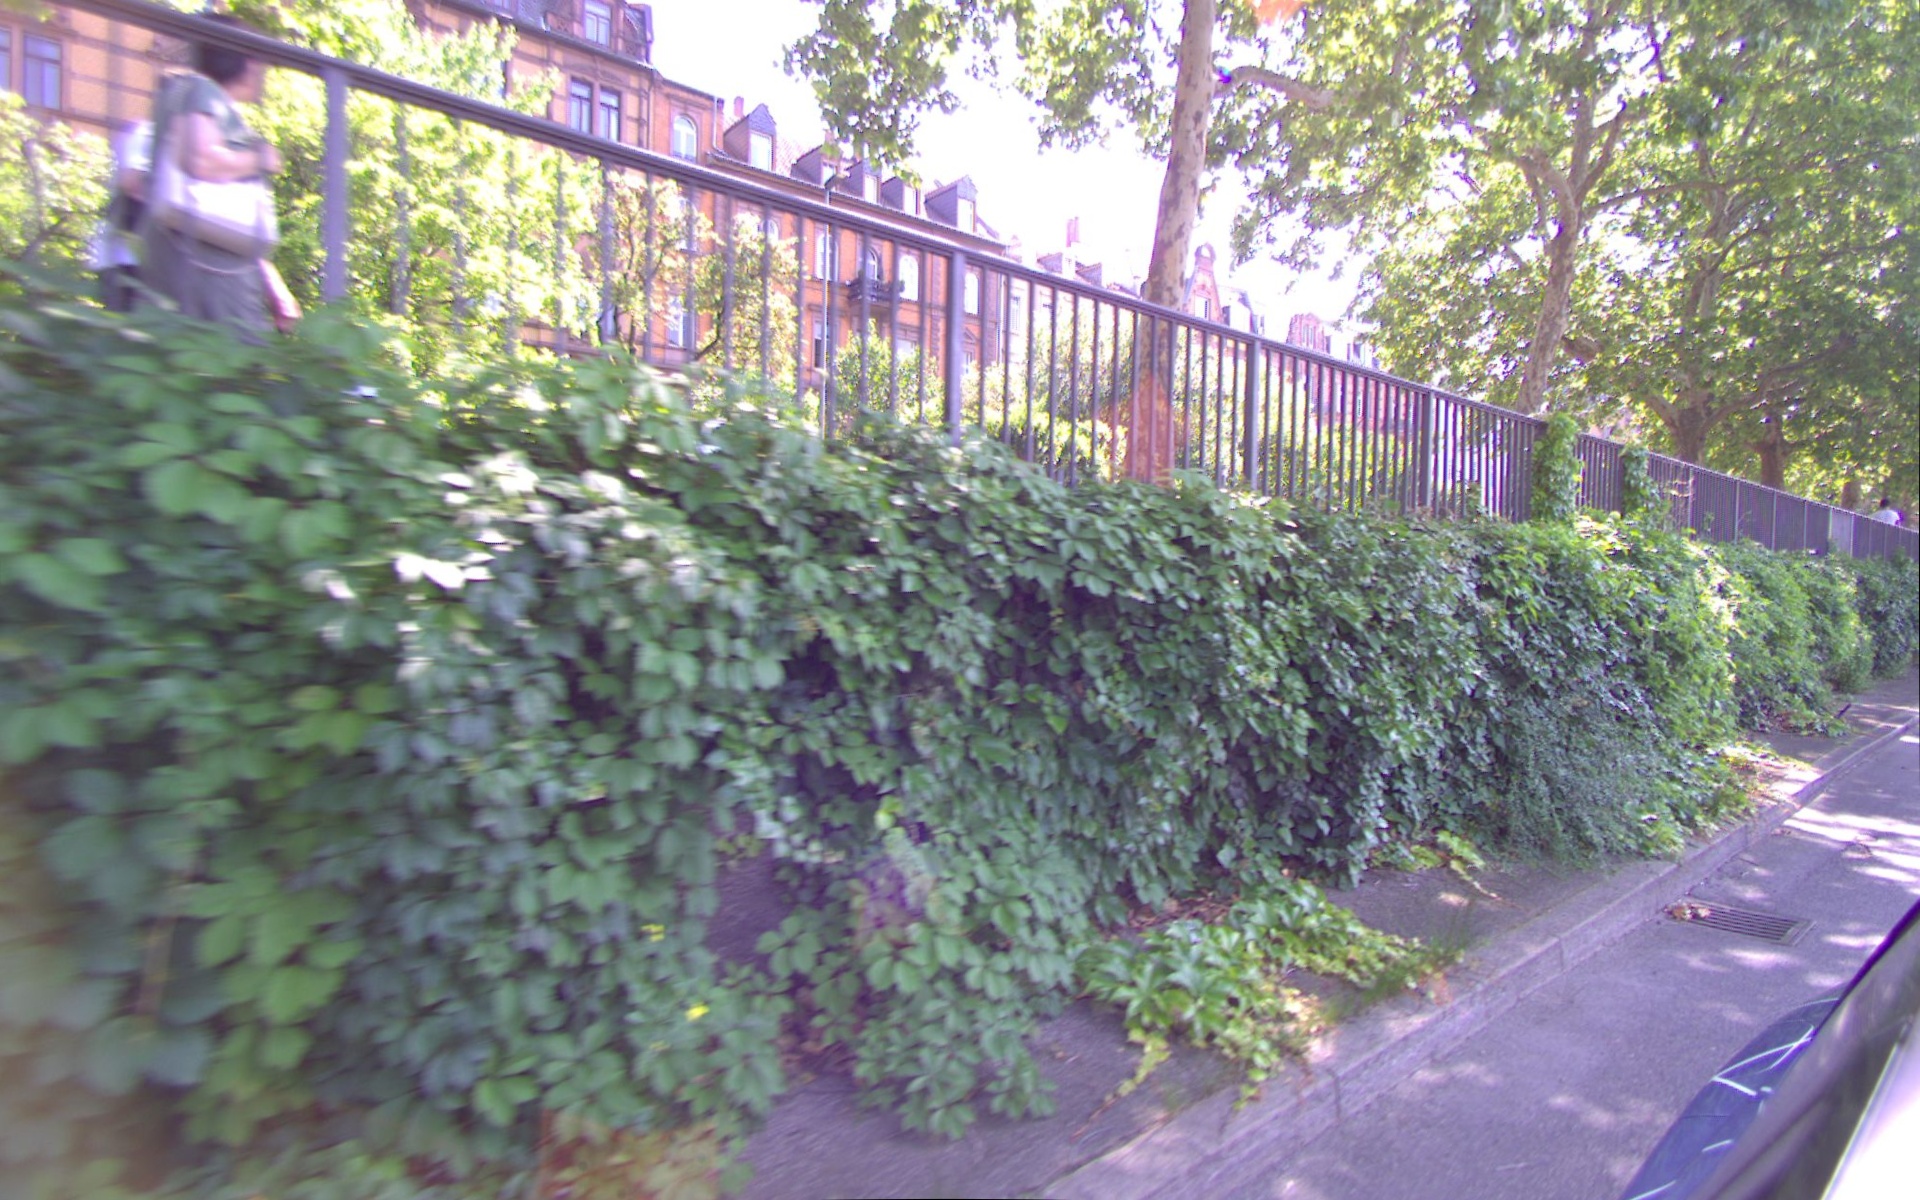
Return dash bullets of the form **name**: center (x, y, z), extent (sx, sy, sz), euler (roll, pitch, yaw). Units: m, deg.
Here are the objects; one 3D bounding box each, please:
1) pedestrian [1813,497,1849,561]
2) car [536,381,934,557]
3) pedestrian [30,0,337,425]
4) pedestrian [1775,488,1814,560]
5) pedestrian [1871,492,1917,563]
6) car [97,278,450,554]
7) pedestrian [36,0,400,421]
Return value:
- **pedestrian**: center (20.097, -1.627, 23.352), extent (0.584, 1.437, 0.580), euler (2, 2, 42)
- **car**: center (-2.173, -1.123, 9.221), extent (3.724, 1.250, 1.650), euler (6, 4, 41)
- **pedestrian**: center (-2.696, -1.363, 3.519), extent (0.781, 1.382, 0.645), euler (0, 4, -43)
- **pedestrian**: center (19.694, -1.779, 23.874), extent (0.646, 1.660, 0.617), euler (2, 2, 42)
- **pedestrian**: center (21.614, -1.665, 23.425), extent (0.639, 1.611, 0.666), euler (0, 2, -41)
- **car**: center (-4.377, -1.025, 6.702), extent (1.484, 1.250, 3.540), euler (1, 4, -31)
- **pedestrian**: center (-2.240, -1.302, 3.052), extent (0.800, 1.382, 0.754), euler (0, 4, -43)
